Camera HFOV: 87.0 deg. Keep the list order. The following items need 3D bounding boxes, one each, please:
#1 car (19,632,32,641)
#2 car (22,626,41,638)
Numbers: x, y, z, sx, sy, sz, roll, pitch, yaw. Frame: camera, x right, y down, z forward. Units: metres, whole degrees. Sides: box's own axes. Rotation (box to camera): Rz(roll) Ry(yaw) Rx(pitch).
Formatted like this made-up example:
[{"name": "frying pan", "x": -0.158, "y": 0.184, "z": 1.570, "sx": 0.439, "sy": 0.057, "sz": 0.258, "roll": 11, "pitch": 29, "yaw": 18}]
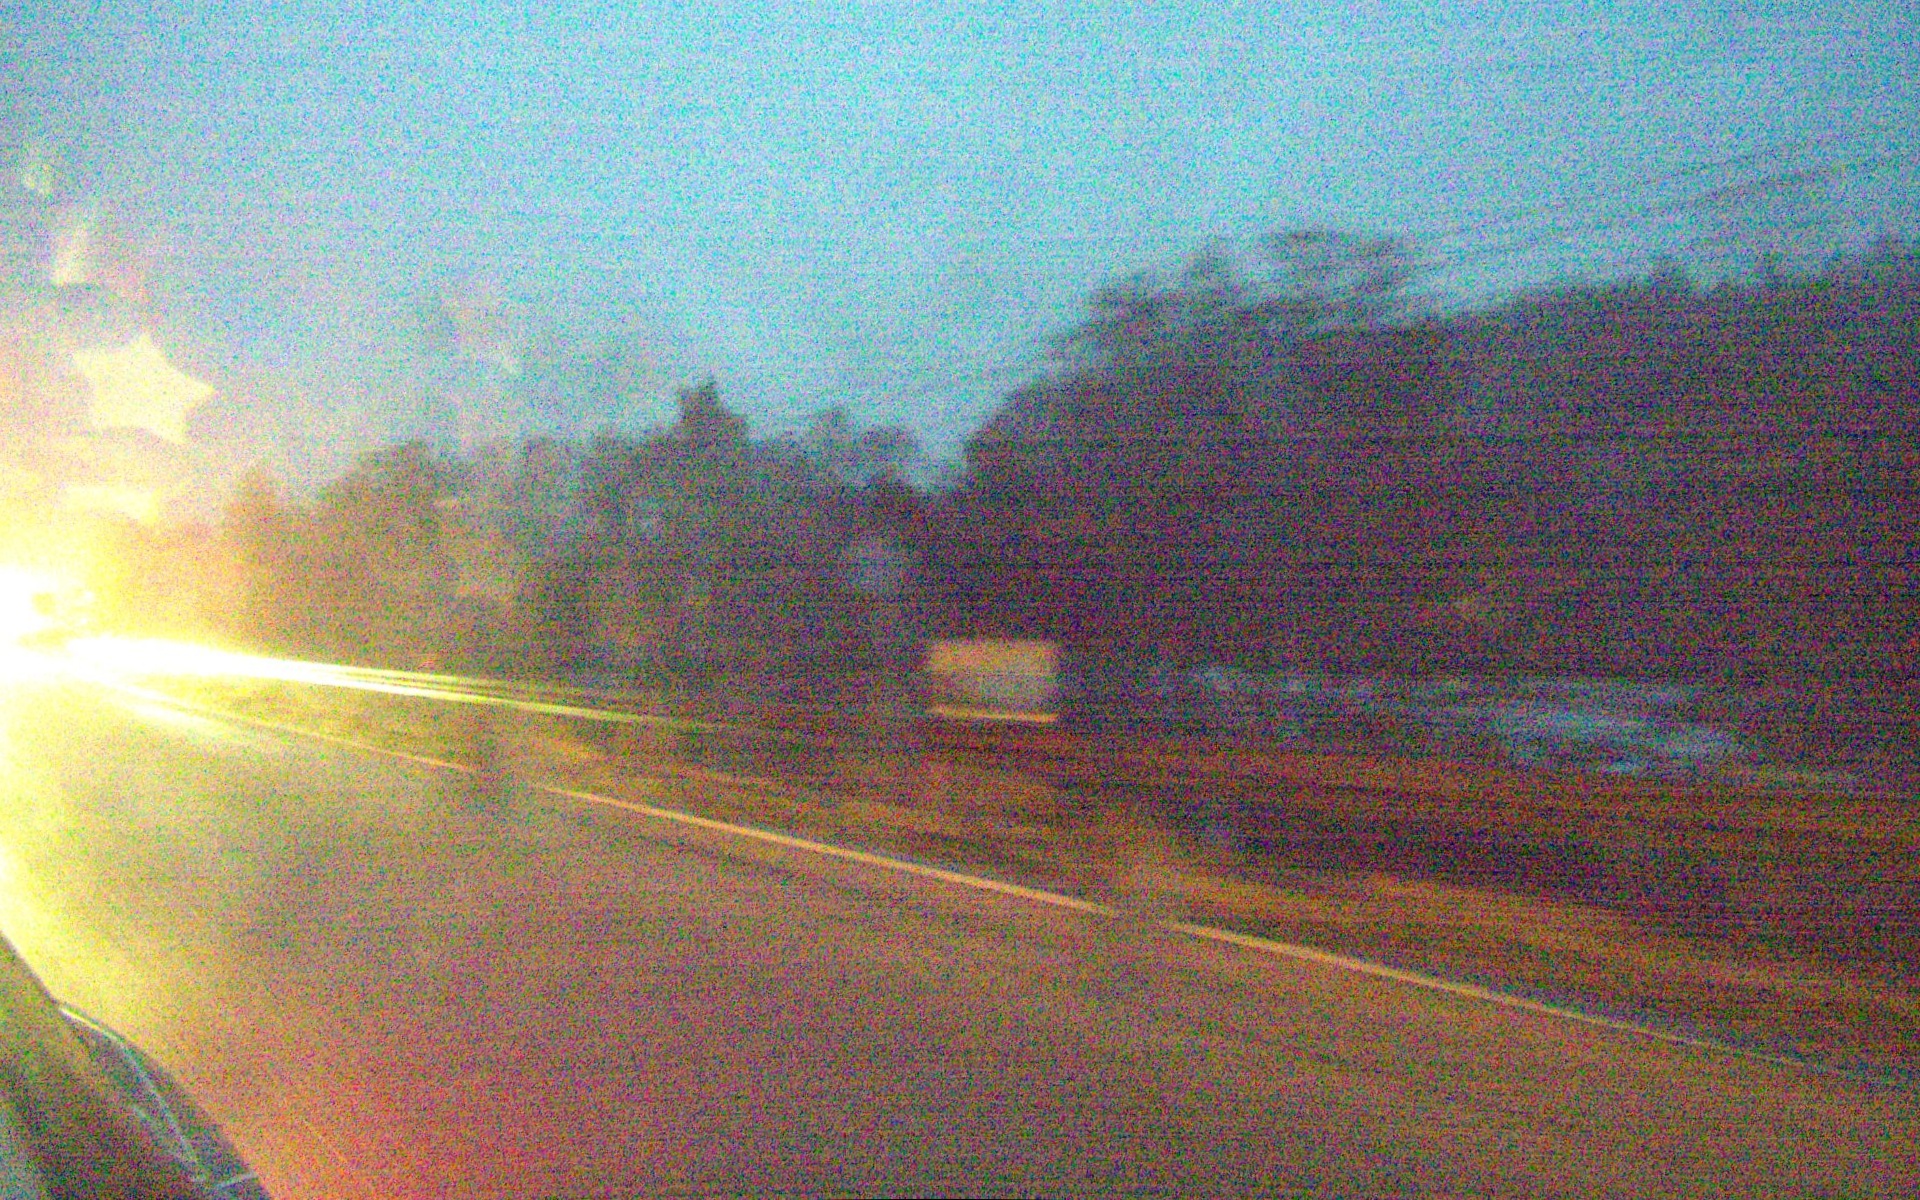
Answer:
[{"name": "car", "x": -177.749, "y": 6.941, "z": 192.519, "sx": 1.764, "sy": 1.645, "sz": 4.430, "roll": -1, "pitch": -1, "yaw": -43}, {"name": "car", "x": -124.923, "y": 4.348, "z": 136.123, "sx": 1.808, "sy": 1.566, "sz": 4.446, "roll": -1, "pitch": -1, "yaw": -43}]
